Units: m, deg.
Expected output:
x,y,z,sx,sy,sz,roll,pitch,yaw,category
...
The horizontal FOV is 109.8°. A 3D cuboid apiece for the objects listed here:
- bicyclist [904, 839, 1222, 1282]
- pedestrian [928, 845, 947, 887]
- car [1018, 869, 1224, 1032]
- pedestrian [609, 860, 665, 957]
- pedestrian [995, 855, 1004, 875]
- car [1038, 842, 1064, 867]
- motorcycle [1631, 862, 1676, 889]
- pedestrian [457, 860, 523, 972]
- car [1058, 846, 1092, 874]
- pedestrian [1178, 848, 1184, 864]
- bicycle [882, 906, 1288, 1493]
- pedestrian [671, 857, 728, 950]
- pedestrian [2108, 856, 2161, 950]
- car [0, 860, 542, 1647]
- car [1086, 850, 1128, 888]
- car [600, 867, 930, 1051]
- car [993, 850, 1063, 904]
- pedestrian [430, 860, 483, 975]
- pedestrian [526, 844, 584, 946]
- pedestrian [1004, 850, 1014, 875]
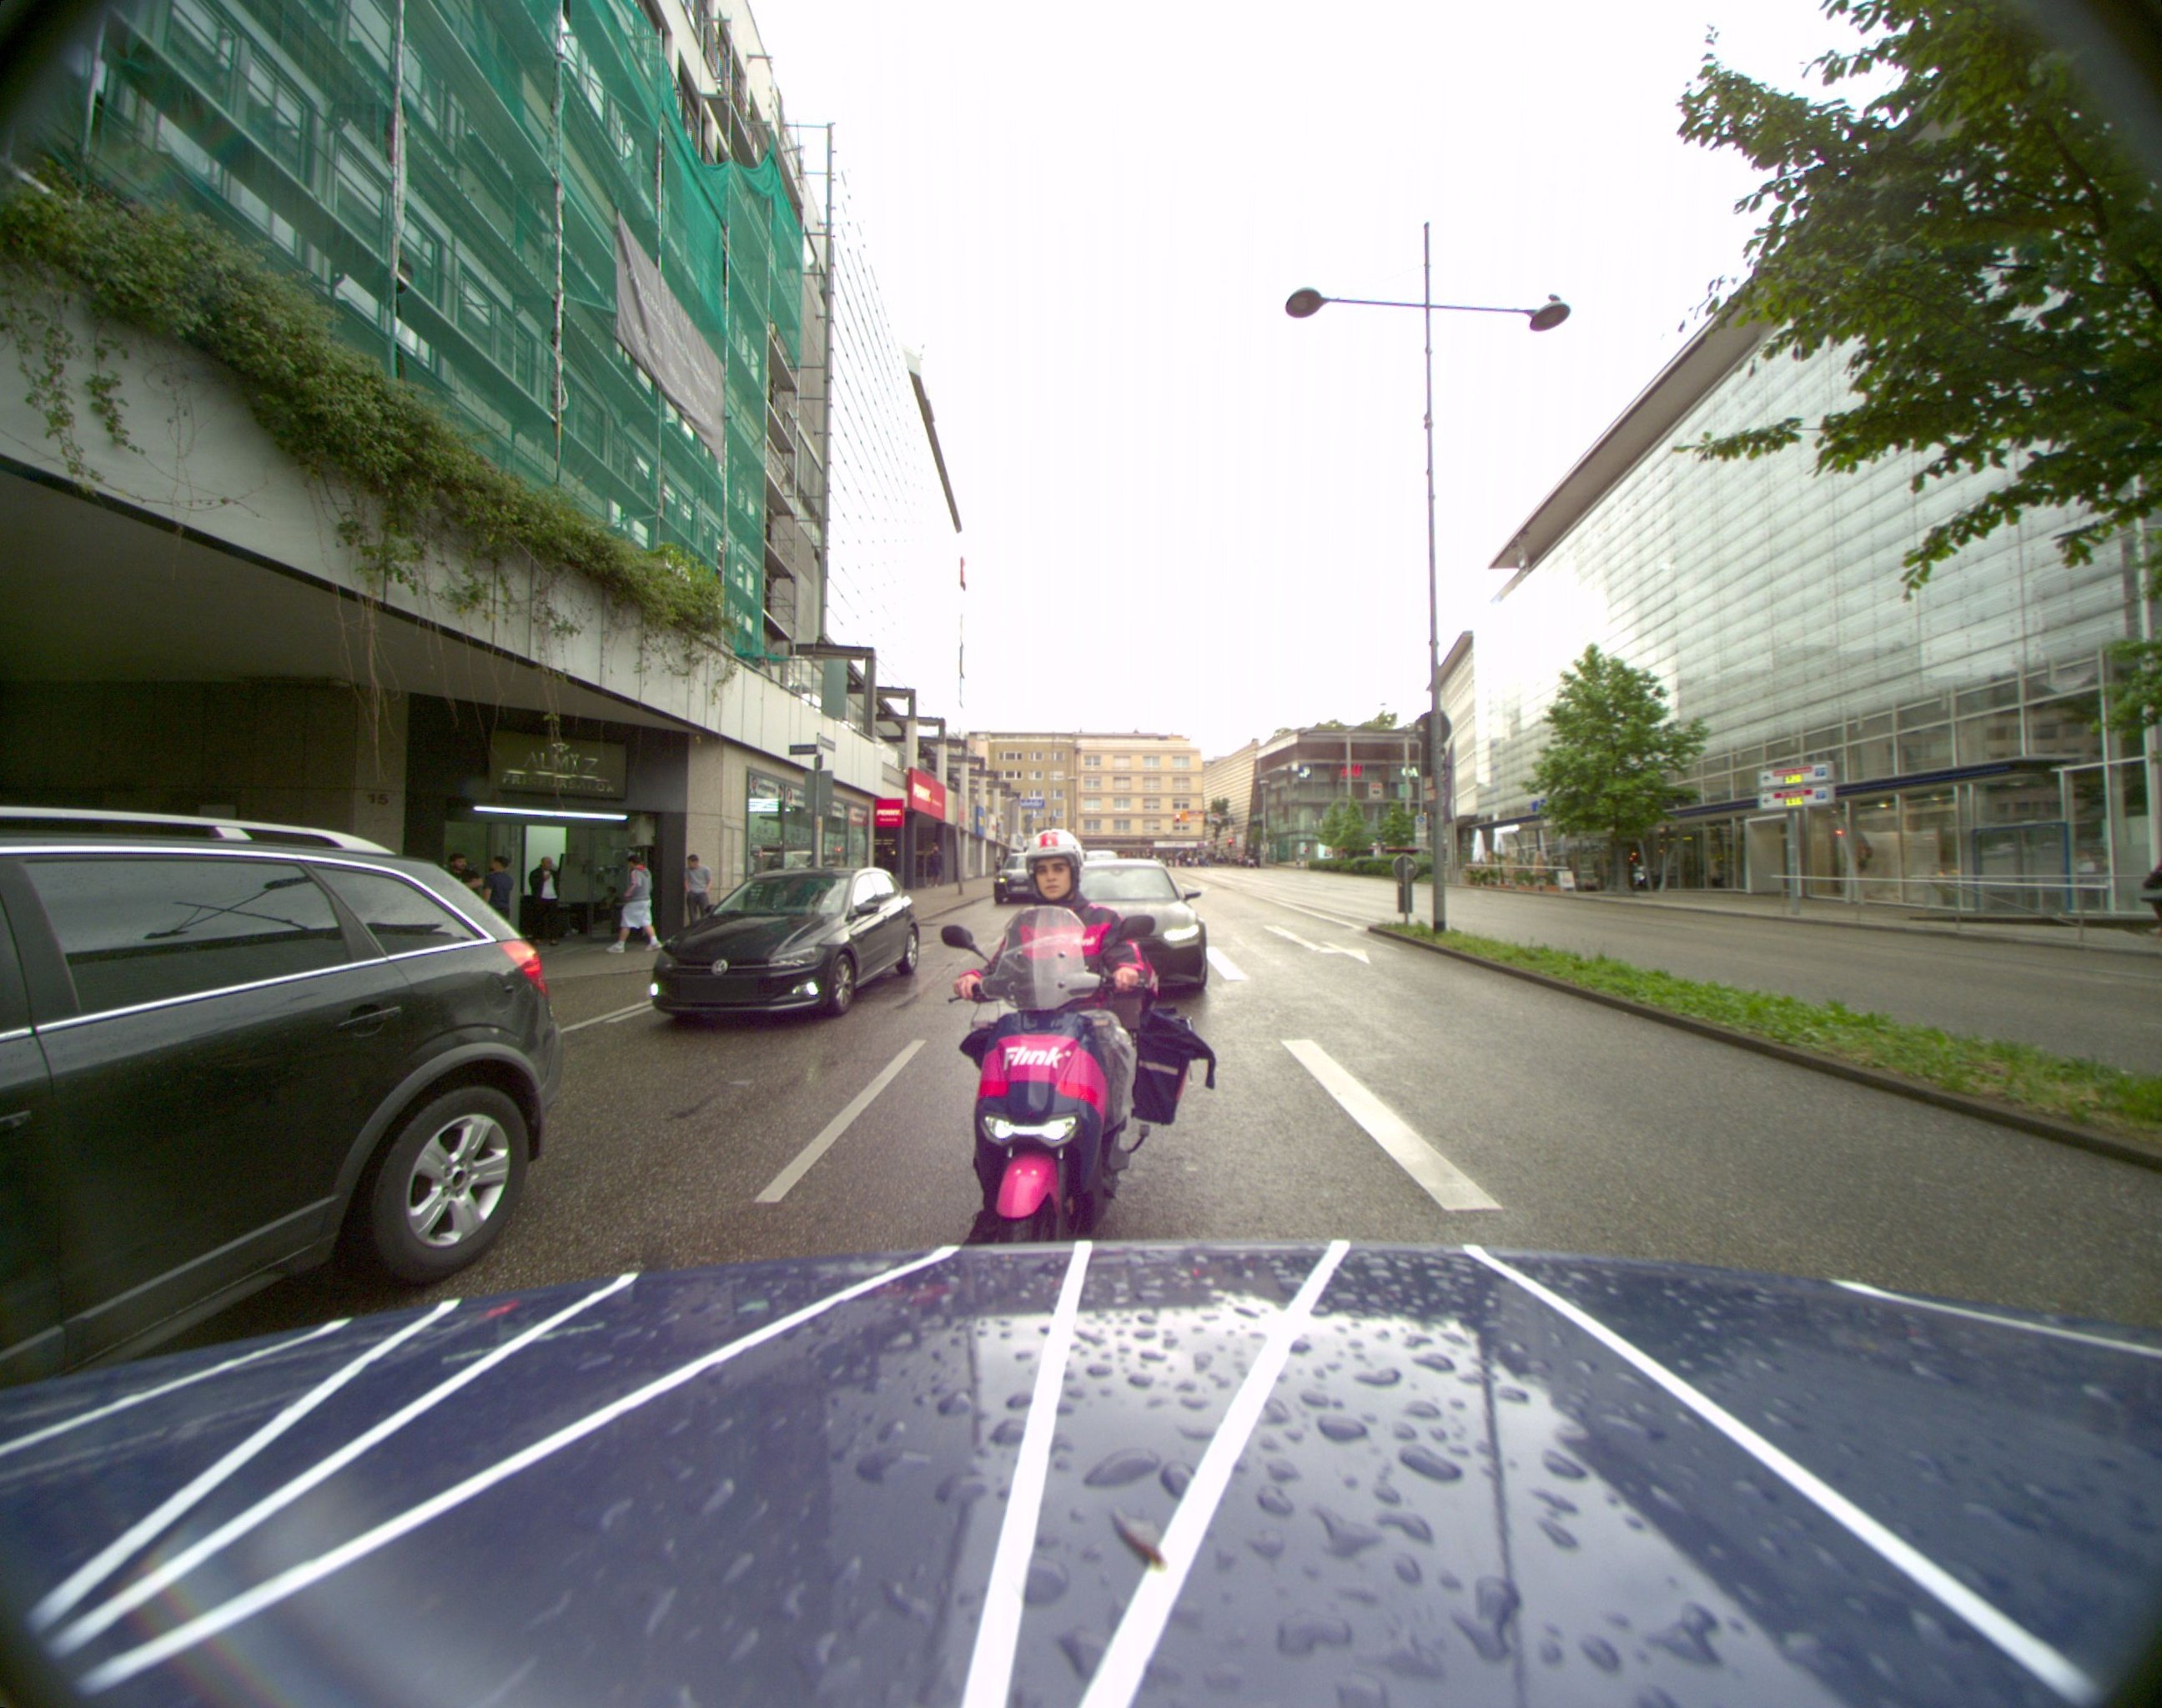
x,y,z,sx,sy,sz,roll,pitch,yaw,category
-0.054,0.723,3.075,1.063,1.534,0.825,-2,2,0,bicyclist
-5.781,0.491,30.648,0.578,1.669,0.511,1,2,22,pedestrian
0.461,0.953,9.191,1.890,1.392,4.164,-2,0,2,car
-7.616,0.916,13.061,0.579,1.618,0.676,0,2,-4,pedestrian
-4.845,0.630,45.295,0.510,1.160,0.579,0,2,0,pedestrian
-2.457,0.014,63.396,1.605,2.002,3.401,-2,1,7,car
28.110,1.055,37.321,1.707,1.319,0.620,0,1,1,motorcycle
-8.781,0.891,11.314,0.640,1.586,0.576,-3,2,-32,pedestrian
-0.334,0.389,49.578,1.988,1.696,4.165,-2,-1,2,car
11.415,0.262,86.444,0.626,1.764,0.689,-2,2,5,pedestrian
0.029,1.027,3.488,1.034,1.279,2.948,-2,1,1,bicycle
-7.062,0.896,14.102,0.639,1.633,0.733,-2,2,-3,pedestrian
19.488,0.861,13.780,0.635,1.628,0.790,-2,2,8,pedestrian
-3.329,0.915,1.276,1.764,1.755,4.164,-2,-1,1,car
1.161,0.639,33.506,1.675,1.520,4.165,-2,-1,2,car
-3.125,0.939,8.577,1.759,1.495,4.165,-2,-1,3,car
-1.678,0.697,25.373,1.841,1.598,4.164,-2,1,2,car
-9.609,0.959,11.692,0.466,1.698,0.484,0,2,42,pedestrian
-9.655,0.717,13.944,0.771,1.805,0.745,2,2,44,pedestrian
-4.297,0.485,45.322,0.510,1.492,0.579,0,2,0,pedestrian
